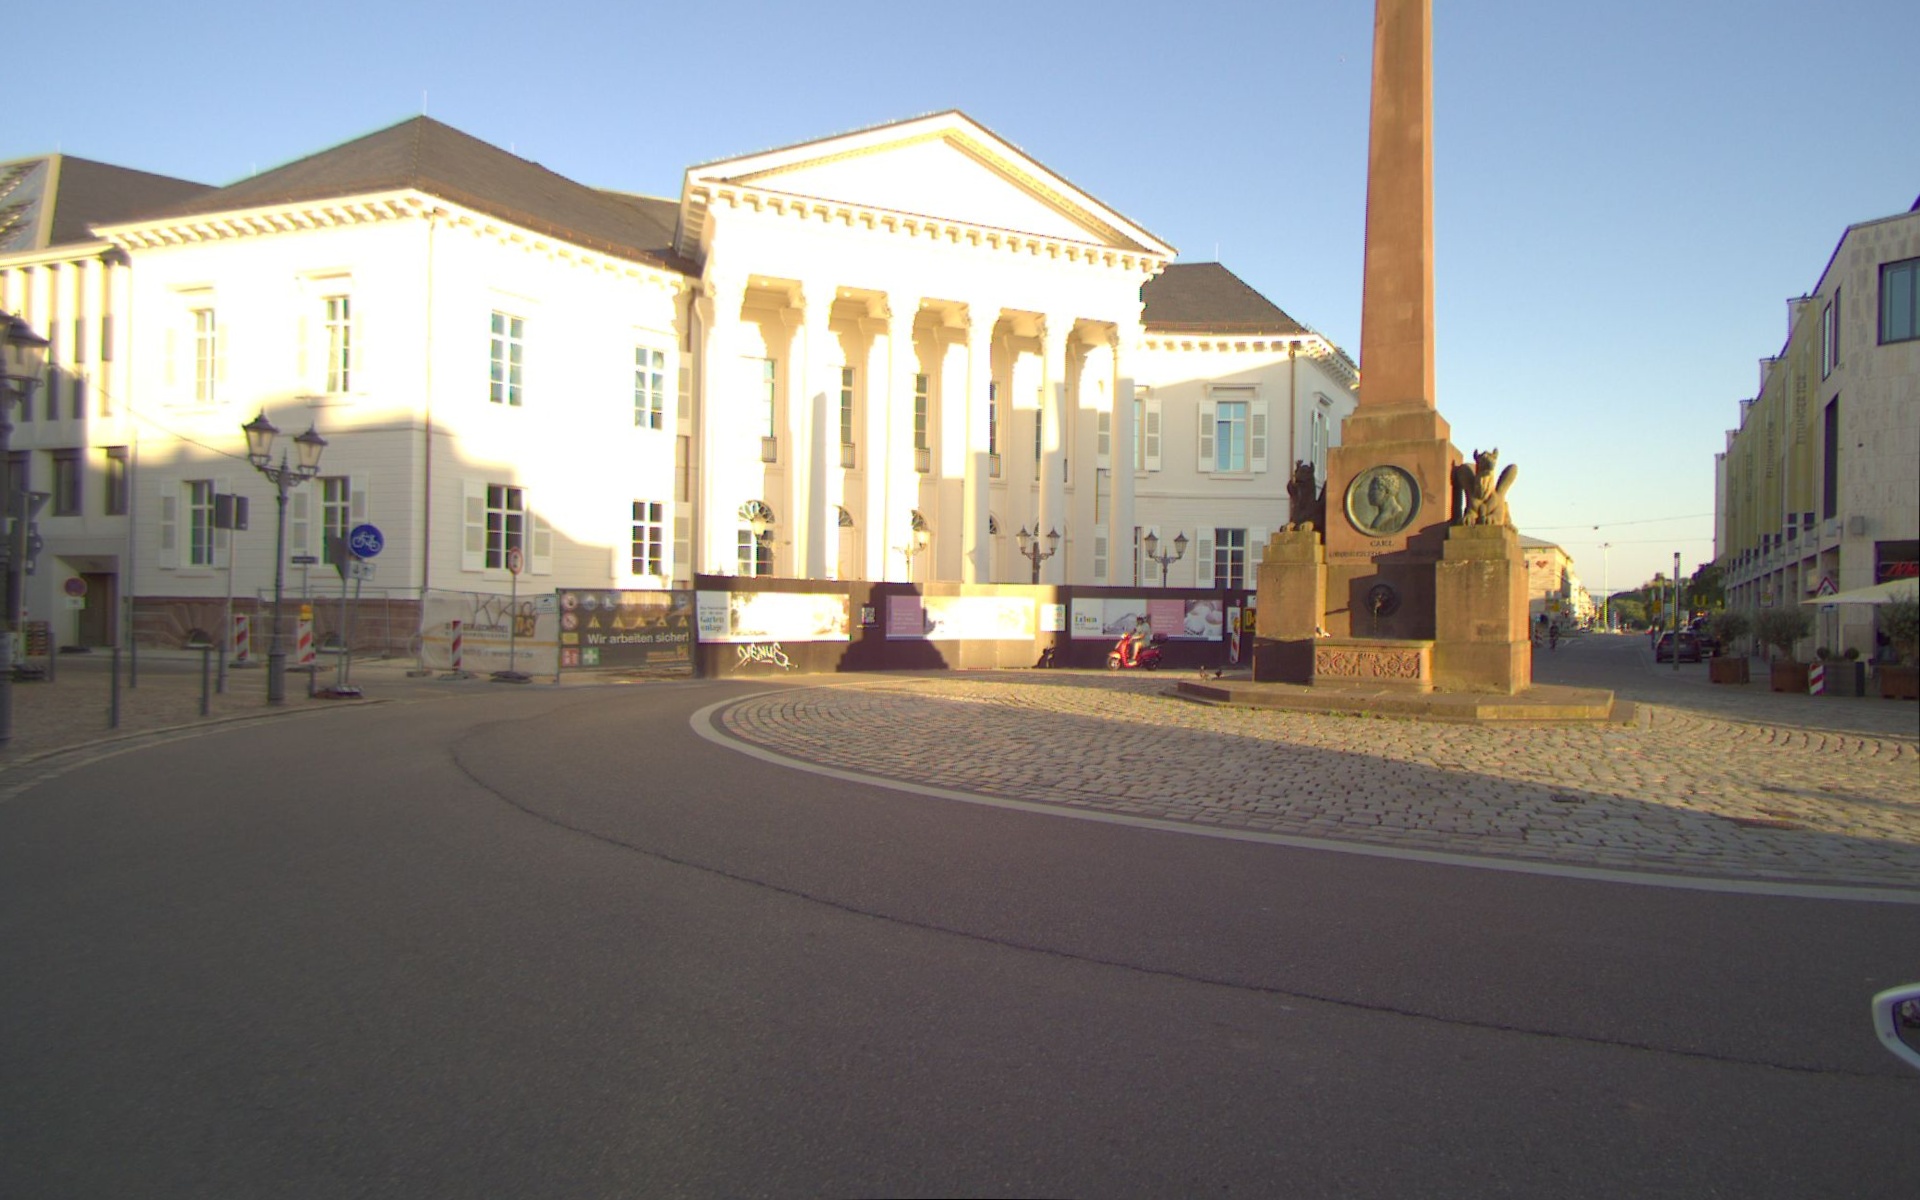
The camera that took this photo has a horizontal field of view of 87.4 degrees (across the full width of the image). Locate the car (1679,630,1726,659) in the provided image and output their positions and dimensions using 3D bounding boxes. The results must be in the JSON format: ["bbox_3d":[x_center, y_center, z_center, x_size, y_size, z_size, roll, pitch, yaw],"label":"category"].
[{"bbox_3d":[40.216,2.369,54.443,1.968,1.483,3.986,0,-1,36],"label":"car"}]

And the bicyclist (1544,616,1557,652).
[{"bbox_3d":[37.026,2.136,62.984,0.592,2.272,0.801,0,-1,35],"label":"bicyclist"}]

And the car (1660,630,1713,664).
[{"bbox_3d":[34.680,2.218,47.959,1.968,1.483,3.986,0,-1,36],"label":"car"}]

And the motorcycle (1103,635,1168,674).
[{"bbox_3d":[4.958,1.540,28.387,1.724,1.045,0.600,1,-1,-13],"label":"motorcycle"}]

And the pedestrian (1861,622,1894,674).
[{"bbox_3d":[32.386,1.676,35.463,0.697,1.811,0.644,0,0,28],"label":"pedestrian"}]

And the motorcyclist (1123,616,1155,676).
[{"bbox_3d":[5.059,1.285,28.421,0.680,1.674,0.600,1,-1,-12],"label":"motorcyclist"}]

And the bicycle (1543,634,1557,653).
[{"bbox_3d":[37.021,2.718,62.993,0.592,1.153,1.749,0,-1,35],"label":"bicycle"}]

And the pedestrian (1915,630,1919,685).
[{"bbox_3d":[25.404,1.508,26.317,0.491,1.416,0.502,1,-1,-40],"label":"pedestrian"}]
